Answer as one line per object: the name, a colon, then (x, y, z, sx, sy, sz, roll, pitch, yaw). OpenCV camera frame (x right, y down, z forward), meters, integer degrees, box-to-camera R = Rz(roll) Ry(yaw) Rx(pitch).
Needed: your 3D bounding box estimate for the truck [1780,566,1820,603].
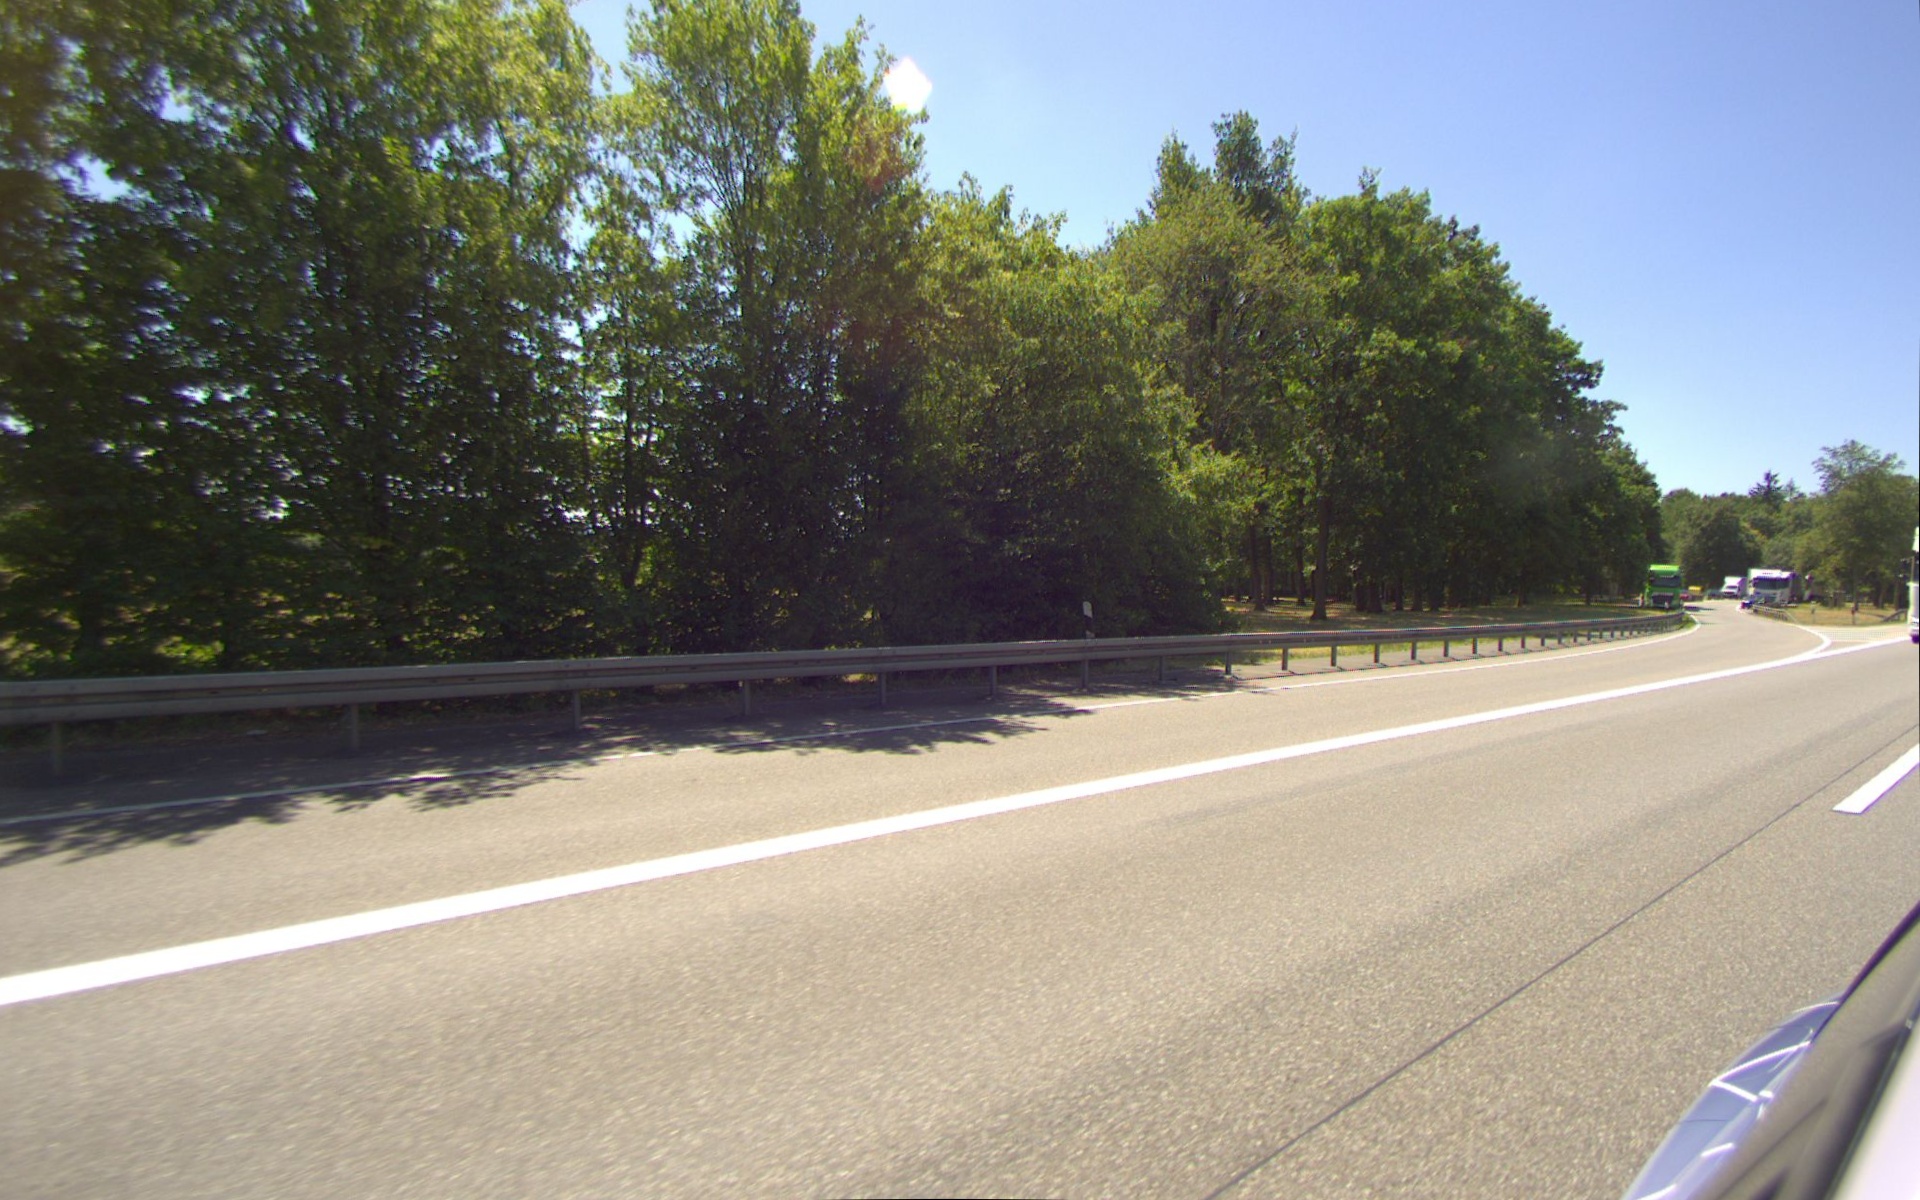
truck: (105.919, -1.909, 127.561, 3.383, 4.519, 8.105, 1, 1, 43)

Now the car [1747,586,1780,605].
car: (79.791, -0.507, 100.456, 4.604, 1.731, 1.995, -1, 4, -45)

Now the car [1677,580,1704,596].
car: (87.360, -1.462, 121.005, 2.140, 1.775, 4.797, 4, 3, 41)

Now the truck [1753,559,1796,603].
truck: (86.457, -1.943, 107.513, 3.376, 4.520, 7.287, 0, 0, 38)

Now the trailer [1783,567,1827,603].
trailer: (112.021, -1.979, 134.076, 3.383, 4.519, 17.844, 1, 1, 43)

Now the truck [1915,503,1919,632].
truck: (35.584, -1.103, 35.229, 6.747, 4.326, 2.860, 0, 0, -42)

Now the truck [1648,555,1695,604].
truck: (64.522, -1.810, 91.732, 3.374, 4.312, 6.531, 0, 0, 36)
